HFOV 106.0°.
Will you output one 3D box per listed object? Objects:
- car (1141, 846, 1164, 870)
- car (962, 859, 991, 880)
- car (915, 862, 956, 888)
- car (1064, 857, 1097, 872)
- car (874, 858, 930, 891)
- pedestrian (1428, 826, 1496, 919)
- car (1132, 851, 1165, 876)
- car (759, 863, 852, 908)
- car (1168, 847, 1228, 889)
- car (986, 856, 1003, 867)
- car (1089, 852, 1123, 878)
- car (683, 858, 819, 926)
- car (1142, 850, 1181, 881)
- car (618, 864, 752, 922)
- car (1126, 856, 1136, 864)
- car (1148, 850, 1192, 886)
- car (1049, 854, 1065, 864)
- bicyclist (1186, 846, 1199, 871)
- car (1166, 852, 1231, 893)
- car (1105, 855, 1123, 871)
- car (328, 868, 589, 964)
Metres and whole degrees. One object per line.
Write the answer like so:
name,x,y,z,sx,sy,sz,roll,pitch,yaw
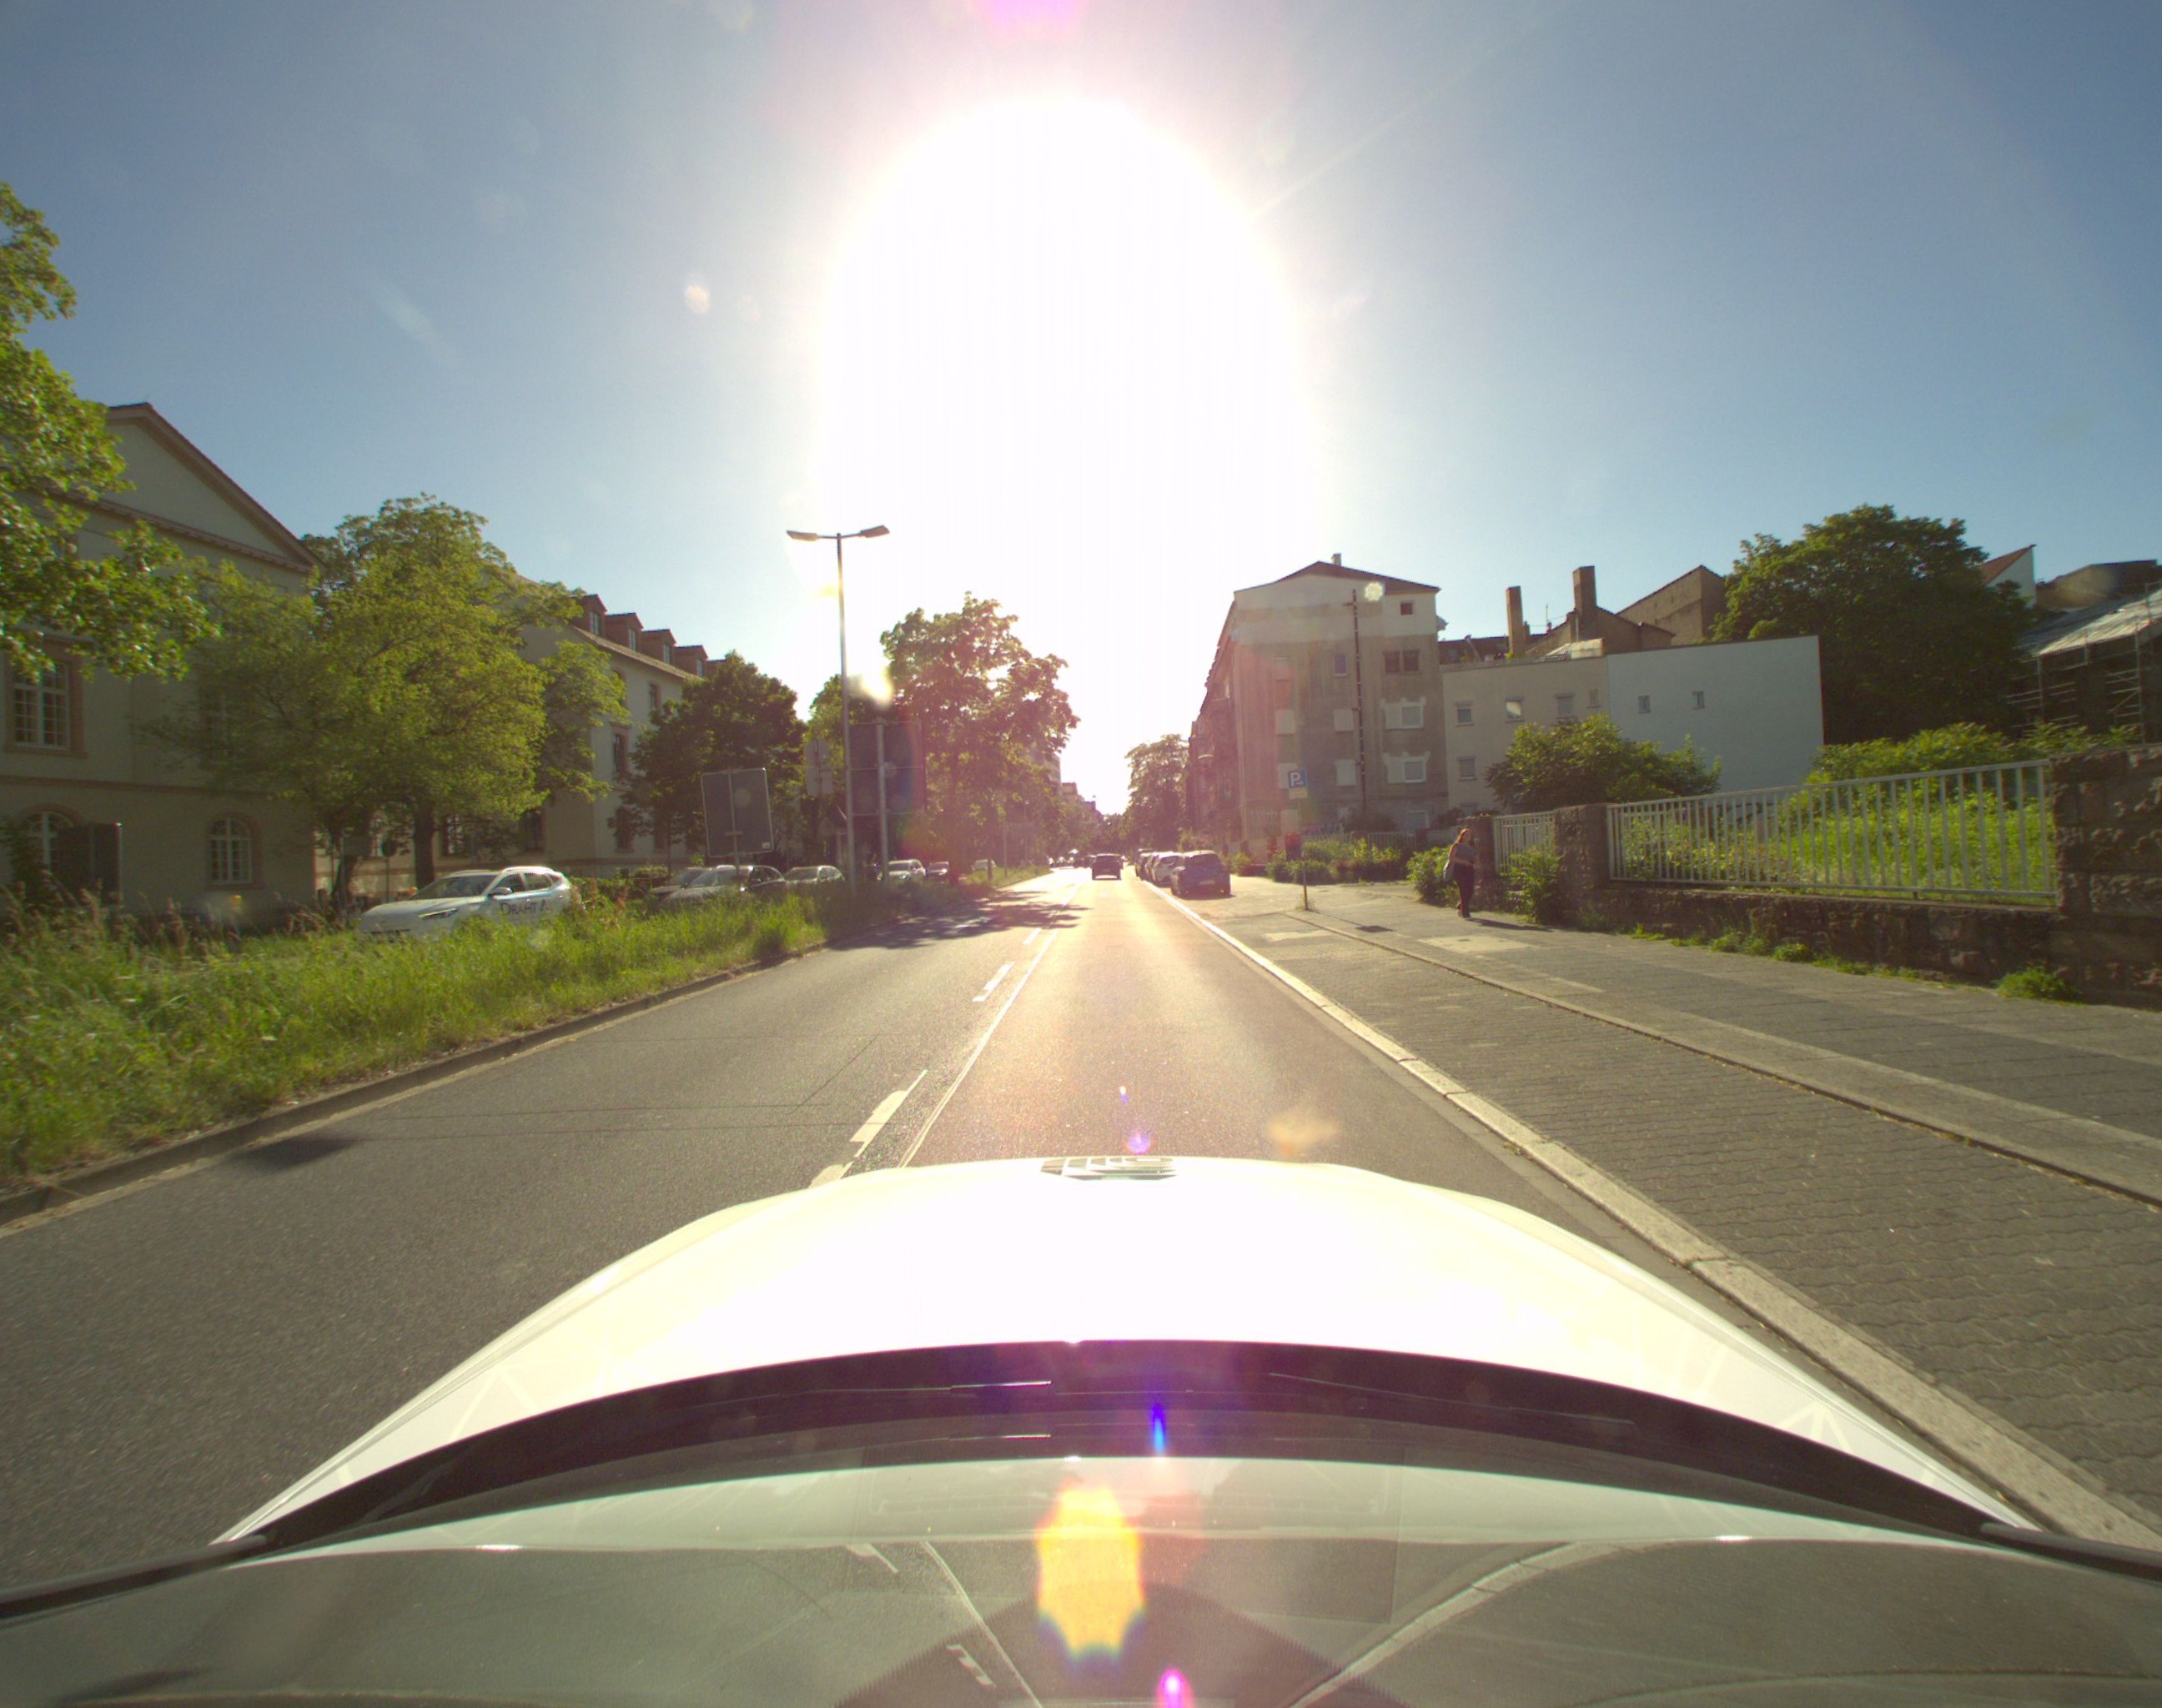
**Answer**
car,5.953,0.314,68.160,1.811,1.844,4.370,-3,0,4
car,-8.343,1.249,65.184,1.632,1.519,4.259,-3,0,1
car,-9.507,1.338,53.539,1.789,1.519,4.087,-4,-1,1
car,-0.112,1.277,96.264,3.838,1.634,1.619,-1,-3,-1
car,-9.839,1.096,45.114,1.894,1.626,4.537,-3,0,1
pedestrian,6.797,0.316,14.564,0.740,1.583,0.897,-3,0,1
car,3.971,0.542,48.670,1.662,1.393,3.775,-3,0,1
car,-10.866,1.194,32.508,1.831,1.519,4.670,-3,0,3
car,4.750,0.529,33.483,1.664,1.459,3.983,-6,0,-2
car,-14.266,1.248,134.636,1.980,1.662,3.976,-2,0,-18
car,1.501,0.640,50.458,1.889,1.519,3.998,0,0,-1
car,-8.676,1.021,21.858,1.746,1.618,4.324,-1,-3,2
car,4.324,0.594,44.194,1.663,1.519,3.659,-3,0,-1
car,-11.616,1.113,24.254,1.789,1.519,4.259,-1,-2,2
car,10.628,1.302,173.030,1.911,1.640,4.006,-3,0,5
car,4.144,0.625,38.437,1.603,1.446,3.659,-6,0,1
car,-3.928,0.873,132.737,1.748,1.519,3.870,-3,0,10
bicyclist,7.034,0.280,51.381,0.738,1.580,1.101,-1,1,4
car,4.077,0.600,28.879,1.662,1.182,3.901,-6,0,0
car,3.336,0.904,82.810,1.786,1.520,3.850,-1,-1,2
car,-11.948,1.101,16.082,1.789,1.519,4.259,-2,0,1
